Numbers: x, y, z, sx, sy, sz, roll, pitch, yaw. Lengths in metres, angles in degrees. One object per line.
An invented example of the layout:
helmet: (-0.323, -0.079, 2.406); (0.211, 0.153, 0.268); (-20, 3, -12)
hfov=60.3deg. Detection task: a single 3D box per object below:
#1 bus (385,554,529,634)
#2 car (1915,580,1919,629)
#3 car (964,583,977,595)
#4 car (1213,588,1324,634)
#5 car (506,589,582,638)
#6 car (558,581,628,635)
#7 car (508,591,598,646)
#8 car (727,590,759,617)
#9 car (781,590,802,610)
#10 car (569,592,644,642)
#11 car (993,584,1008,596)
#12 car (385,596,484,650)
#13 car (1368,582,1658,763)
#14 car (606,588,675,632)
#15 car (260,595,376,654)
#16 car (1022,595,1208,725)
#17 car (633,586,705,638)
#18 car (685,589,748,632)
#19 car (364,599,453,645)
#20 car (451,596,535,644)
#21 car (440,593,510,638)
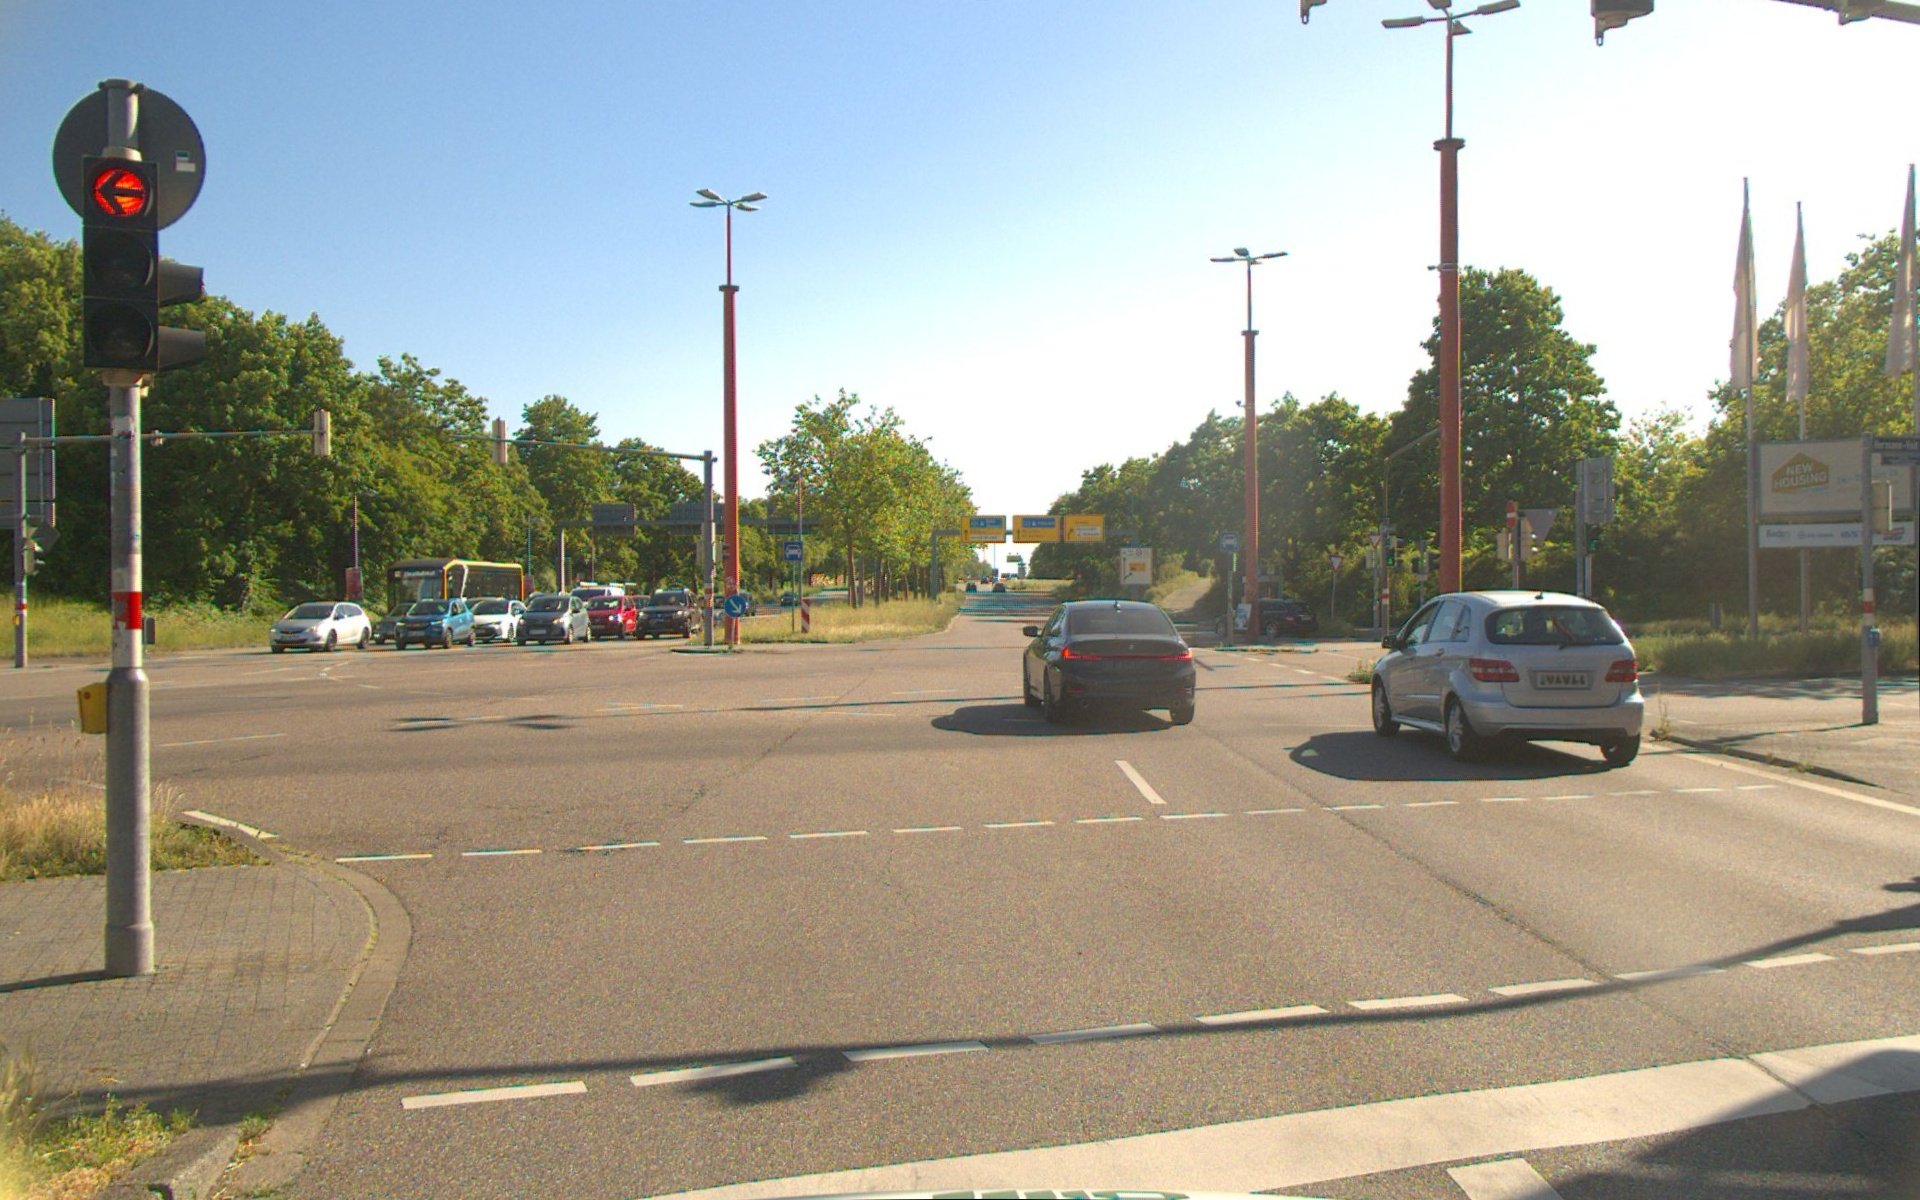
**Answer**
bus: (-22.711, -0.238, 75.546); (2.591, 3.318, 12.535); (1, 0, 0)
car: (34.510, 0.148, 55.482); (4.209, 1.664, 1.764); (0, 0, -12)
car: (1.627, -1.620, 254.067); (1.953, 1.764, 3.999); (1, 0, -1)
car: (11.724, 0.404, 63.086); (1.747, 1.664, 4.251); (1, 0, -32)
car: (-15.924, 0.497, 63.516); (1.835, 1.815, 4.000); (-1, 0, 1)
car: (-15.623, 0.332, 70.581); (1.922, 2.193, 5.080); (-1, 0, -1)
car: (-12.771, 0.553, 52.082); (1.836, 1.577, 4.027); (-2, 1, -1)
car: (-15.057, 0.229, 114.955); (1.800, 1.869, 3.960); (0, 0, -1)
car: (-17.765, -0.038, 174.432); (1.881, 2.034, 4.602); (0, 0, -1)
car: (-12.448, 0.584, 58.424); (1.838, 1.579, 3.998); (-3, 0, -2)
car: (6.071, -1.539, 248.129); (1.953, 1.764, 3.999); (1, 0, -1)
car: (-16.106, 0.684, 50.870); (1.764, 1.542, 3.858); (-2, 0, 0)
car: (5.568, 0.673, 17.148); (1.681, 1.636, 3.846); (1, 0, -1)
car: (-12.407, 0.368, 64.425); (1.862, 1.658, 4.000); (0, 0, 1)
car: (-19.544, 0.738, 50.535); (1.838, 1.681, 4.219); (-1, 0, 0)
car: (1.865, 0.698, 21.139); (1.729, 1.466, 4.292); (1, 0, -3)
car: (-9.840, 0.386, 56.204); (1.757, 1.654, 4.142); (-2, 0, -2)
car: (-9.352, 0.376, 63.691); (1.847, 1.570, 3.999); (-2, 0, -1)
car: (-19.890, 0.776, 59.788); (1.846, 1.539, 4.000); (-1, 0, 0)
car: (-16.034, 0.664, 57.021); (1.863, 1.582, 3.998); (-1, 0, -2)
car: (-19.454, 0.641, 66.493); (1.742, 1.681, 3.972); (-3, -1, -2)
